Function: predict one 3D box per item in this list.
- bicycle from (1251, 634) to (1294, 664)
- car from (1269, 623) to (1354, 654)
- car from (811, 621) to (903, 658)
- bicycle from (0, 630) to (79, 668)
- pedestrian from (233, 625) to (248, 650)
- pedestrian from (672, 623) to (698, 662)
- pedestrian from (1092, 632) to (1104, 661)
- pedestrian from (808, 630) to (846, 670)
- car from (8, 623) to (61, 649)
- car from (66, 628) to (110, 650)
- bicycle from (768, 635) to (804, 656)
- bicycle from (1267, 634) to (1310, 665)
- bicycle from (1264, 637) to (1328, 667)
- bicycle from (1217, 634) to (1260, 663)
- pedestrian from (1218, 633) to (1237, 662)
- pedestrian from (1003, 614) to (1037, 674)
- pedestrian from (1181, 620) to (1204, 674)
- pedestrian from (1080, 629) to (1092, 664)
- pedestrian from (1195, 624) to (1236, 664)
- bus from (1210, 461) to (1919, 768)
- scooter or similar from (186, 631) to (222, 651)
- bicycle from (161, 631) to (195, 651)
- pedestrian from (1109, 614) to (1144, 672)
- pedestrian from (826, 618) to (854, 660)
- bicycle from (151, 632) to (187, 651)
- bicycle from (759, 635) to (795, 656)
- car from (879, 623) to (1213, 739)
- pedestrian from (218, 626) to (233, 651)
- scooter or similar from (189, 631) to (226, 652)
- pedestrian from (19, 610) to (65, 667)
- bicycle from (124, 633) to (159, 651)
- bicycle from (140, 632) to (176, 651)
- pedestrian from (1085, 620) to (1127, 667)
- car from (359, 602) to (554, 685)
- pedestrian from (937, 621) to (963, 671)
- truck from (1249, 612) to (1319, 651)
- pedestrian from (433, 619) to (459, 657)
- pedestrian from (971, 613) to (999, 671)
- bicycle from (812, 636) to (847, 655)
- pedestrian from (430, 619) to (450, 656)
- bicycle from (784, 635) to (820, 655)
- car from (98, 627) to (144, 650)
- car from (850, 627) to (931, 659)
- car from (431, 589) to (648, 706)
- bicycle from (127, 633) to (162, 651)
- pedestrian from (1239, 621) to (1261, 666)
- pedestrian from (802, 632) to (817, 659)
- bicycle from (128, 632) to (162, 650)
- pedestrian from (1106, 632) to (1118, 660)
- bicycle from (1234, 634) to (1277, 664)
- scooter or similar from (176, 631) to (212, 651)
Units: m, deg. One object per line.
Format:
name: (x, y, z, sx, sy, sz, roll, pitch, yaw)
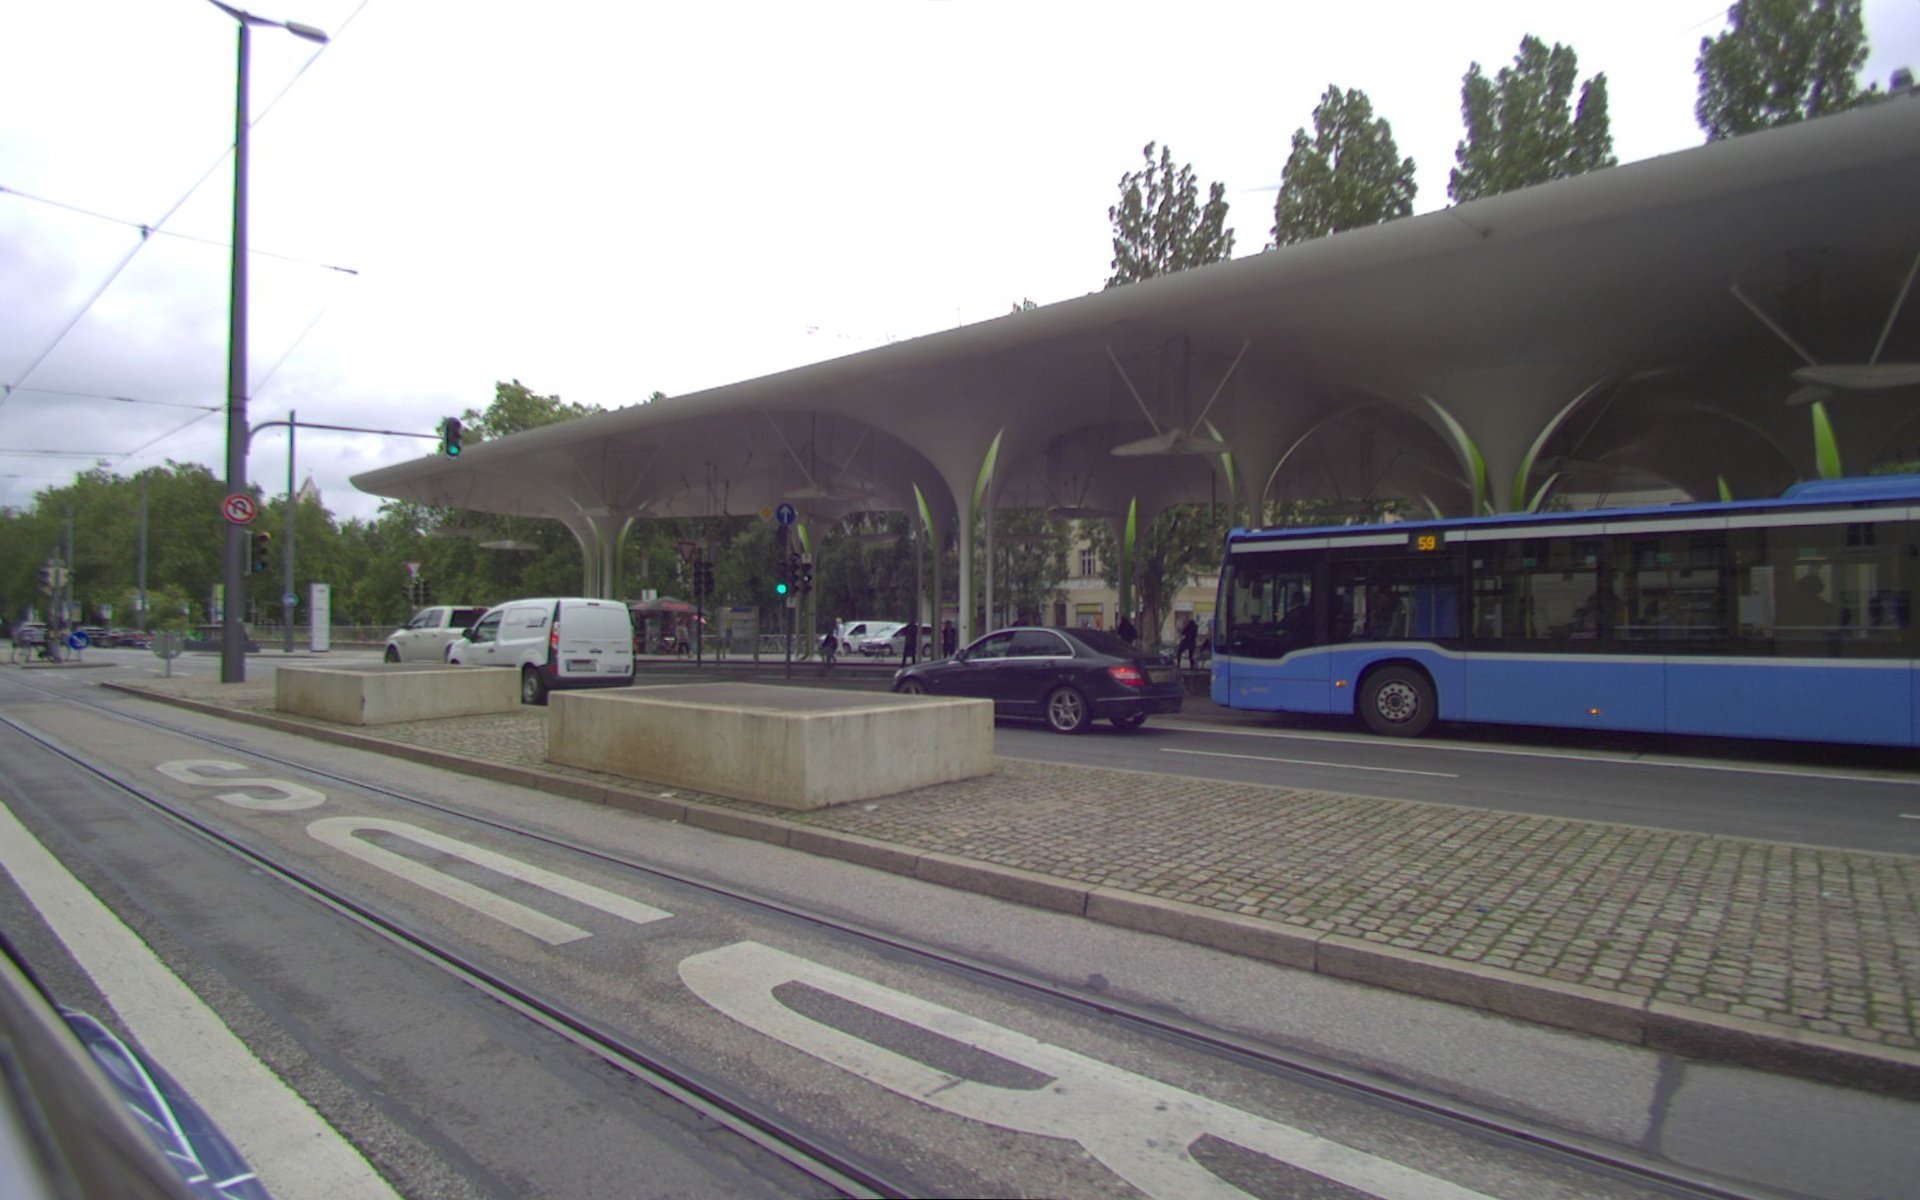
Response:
bicycle: (17.800, 2.758, 57.544, 1.000, 1.625, 3.576, -1, -2, 41)
car: (22.476, 2.458, 64.888, 4.741, 1.934, 1.998, 0, -2, 4)
car: (-5.673, 2.167, 56.122, 4.852, 1.962, 1.874, 1, -2, -38)
bicycle: (-30.589, 1.592, 33.462, 0.503, 1.159, 2.215, 0, 0, 22)
pedestrian: (-45.095, 2.360, 63.405, 0.588, 1.570, 0.624, -2, -3, 40)
pedestrian: (-11.646, 1.806, 42.862, 0.831, 1.622, 0.745, 0, -2, 12)
pedestrian: (8.155, 2.732, 59.716, 0.457, 1.638, 0.575, -2, 0, 38)
pedestrian: (-4.329, 1.610, 32.839, 0.799, 1.239, 1.274, 1, -2, -30)
car: (-60.531, 2.344, 66.160, 4.674, 1.651, 1.844, -1, -4, 40)
car: (-66.337, 2.941, 76.961, 4.099, 1.582, 1.973, -2, -2, 41)
bicycle: (-10.031, 2.599, 58.312, 2.523, 1.138, 0.635, -1, -2, 42)
bicycle: (18.464, 2.742, 56.828, 1.000, 1.625, 3.576, -1, -2, 41)
bicycle: (15.701, 2.404, 47.409, 0.828, 1.324, 2.950, 1, -2, -32)
bicycle: (16.264, 2.795, 59.032, 1.000, 1.625, 3.576, -1, -2, 41)
pedestrian: (10.222, 1.795, 38.670, 0.576, 1.092, 0.512, -1, -2, 34)
pedestrian: (1.911, 1.390, 32.319, 0.701, 1.887, 0.881, 1, -2, -28)
pedestrian: (6.818, 1.365, 29.691, 0.637, 1.576, 0.660, 0, -2, 16)
pedestrian: (7.503, 2.748, 60.135, 0.457, 2.029, 0.575, -2, 0, 38)
pedestrian: (7.693, 1.320, 30.489, 0.877, 1.163, 0.902, -1, 0, 41)
bus: (8.529, 0.244, 12.515, 10.508, 3.031, 2.633, -1, -4, 40)
scooter or similar: (-45.512, 2.472, 60.934, 0.561, 1.181, 1.671, -2, -2, 38)
bicycle: (-48.363, 2.545, 62.619, 0.556, 1.181, 1.687, -1, -2, 11)
pedestrian: (5.256, 1.335, 31.904, 0.782, 1.802, 0.754, -2, -2, 44)
pedestrian: (-5.989, 1.939, 50.635, 0.989, 2.029, 1.028, 1, -2, -44)
bicycle: (-50.254, 2.646, 64.308, 0.560, 1.181, 1.675, -1, -2, 31)
bicycle: (-10.454, 2.600, 57.793, 2.523, 1.138, 0.635, -1, -2, 42)
car: (1.083, 1.048, 14.341, 4.610, 1.389, 1.655, -1, -3, 40)
pedestrian: (-45.506, 2.374, 62.713, 0.588, 1.570, 0.624, -2, -3, 40)
scooter or similar: (-44.660, 2.451, 60.110, 0.561, 1.181, 1.671, -2, -2, 38)
pedestrian: (-30.454, 1.265, 33.574, 0.892, 1.825, 0.854, 0, 0, 25)
bicycle: (-53.384, 2.726, 66.036, 0.504, 1.181, 1.674, -1, -2, 33)
bicycle: (-51.357, 2.674, 64.809, 0.560, 1.181, 1.675, -1, -2, 31)
pedestrian: (4.407, 1.296, 30.529, 0.951, 1.380, 0.842, 1, -2, -42)
car: (-13.038, 1.084, 25.985, 6.150, 1.902, 2.153, -1, -3, 40)
pedestrian: (-0.315, 1.443, 31.752, 0.633, 1.557, 0.589, -1, -2, 24)
truck: (22.671, 2.191, 70.745, 5.269, 2.643, 2.295, 1, -2, -42)
pedestrian: (-23.036, 1.697, 45.348, 0.737, 1.641, 0.734, -1, -2, 20)
pedestrian: (0.749, 1.276, 30.764, 0.661, 1.741, 0.812, 0, -2, -12)
bicycle: (-7.801, 2.698, 60.428, 2.523, 1.138, 0.635, -1, -2, 42)
pedestrian: (-25.001, 1.787, 48.660, 0.725, 1.729, 0.862, 1, -2, -38)
bicycle: (-9.225, 2.596, 59.039, 2.523, 1.138, 0.635, -1, -2, 42)
car: (-58.511, 2.674, 70.551, 4.231, 1.537, 1.840, -2, -3, 41)
car: (-3.648, 2.230, 53.465, 3.937, 1.628, 1.834, 1, -2, -41)
car: (-7.610, 0.821, 18.162, 4.213, 1.869, 1.768, -1, -3, 39)
bicycle: (-52.924, 2.715, 65.675, 0.560, 1.181, 1.675, -1, -2, 31)
pedestrian: (10.887, 1.610, 37.952, 0.639, 1.660, 0.596, -1, -2, 34)
pedestrian: (-8.874, 2.681, 59.624, 0.636, 1.594, 0.627, -1, -2, 41)
bicycle: (-54.474, 2.708, 67.623, 0.561, 1.181, 1.672, -2, -2, 38)
pedestrian: (9.011, 2.706, 60.100, 0.457, 1.638, 0.575, -2, 0, 38)
bicycle: (17.031, 2.777, 58.252, 1.000, 1.625, 3.576, -1, -2, 41)
scooter or similar: (-47.179, 2.513, 62.338, 0.558, 1.181, 1.681, -1, -2, 22)
